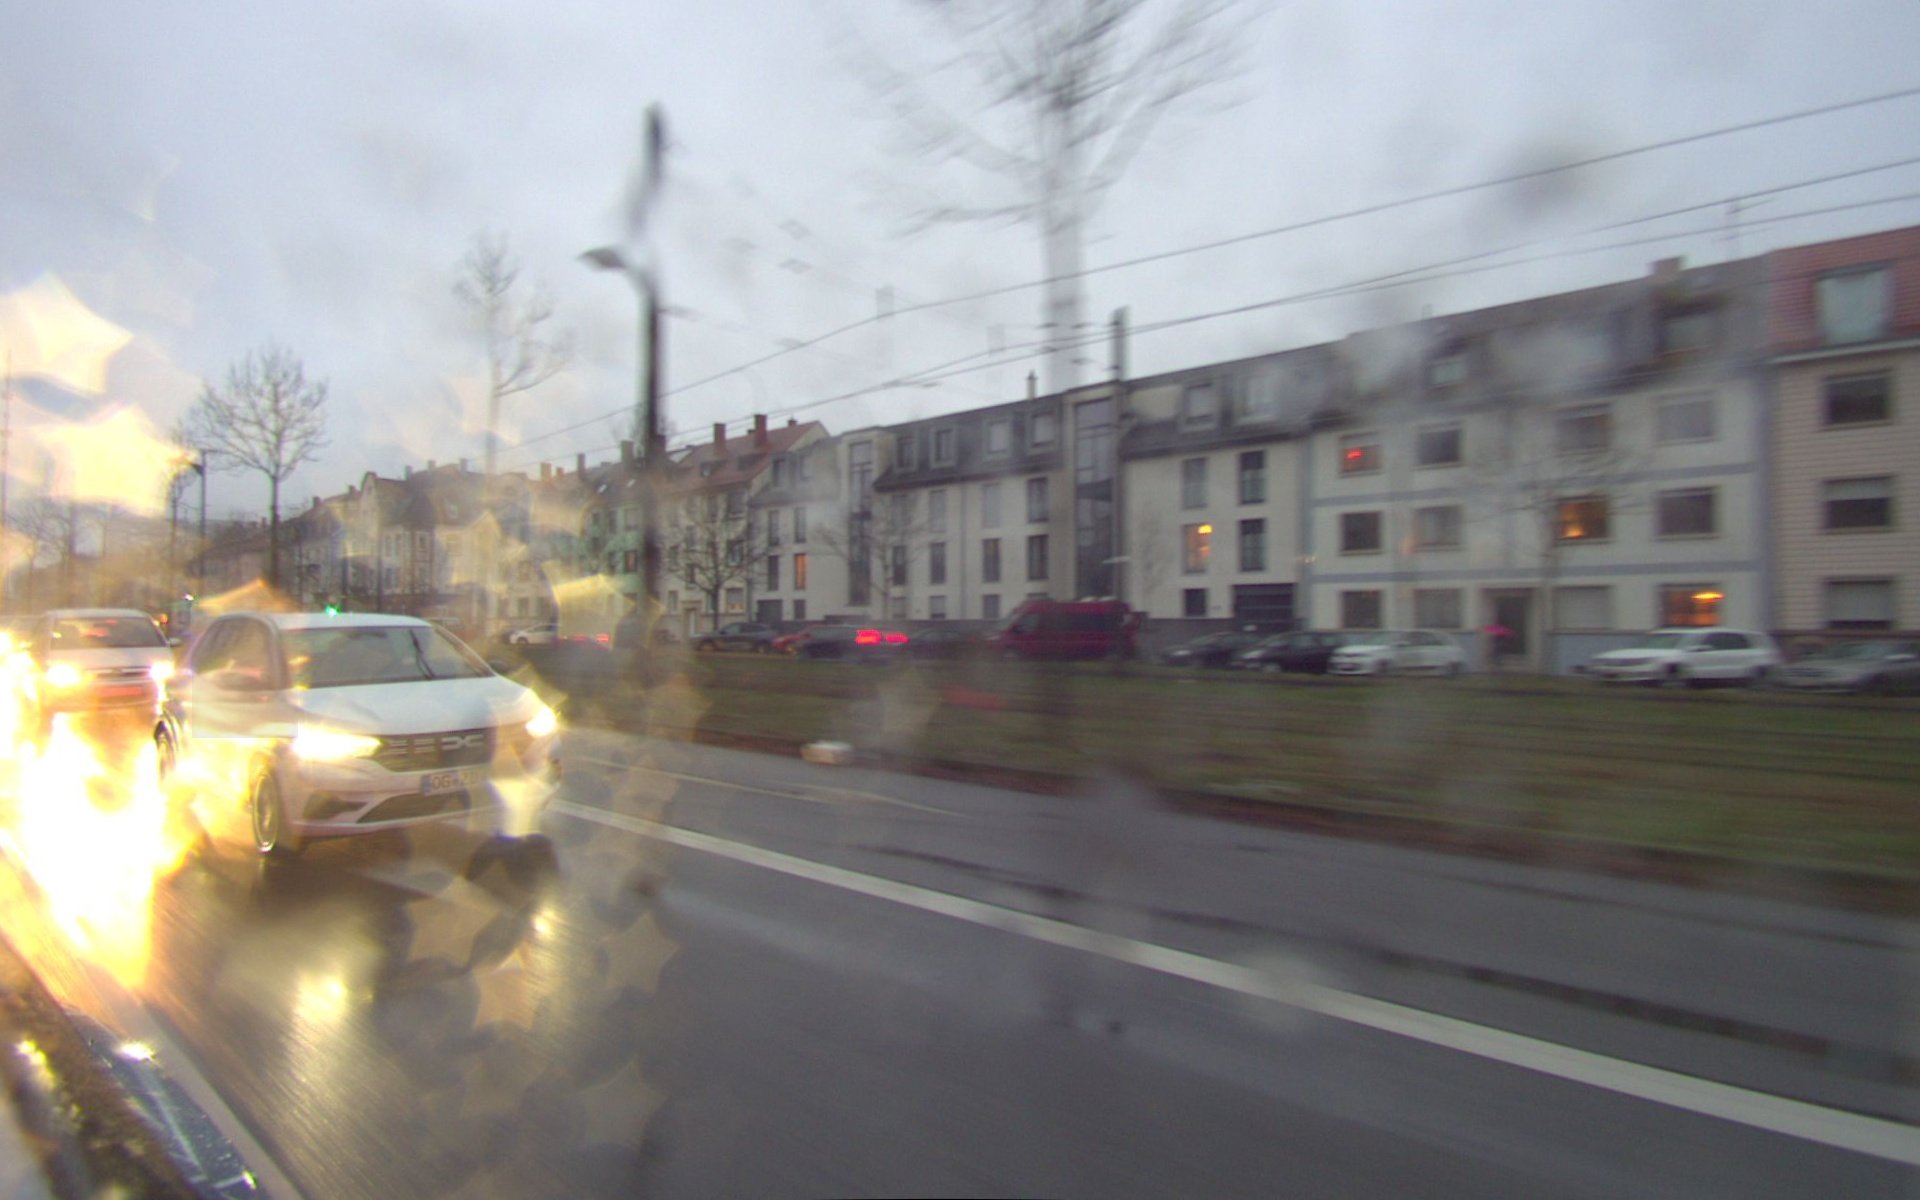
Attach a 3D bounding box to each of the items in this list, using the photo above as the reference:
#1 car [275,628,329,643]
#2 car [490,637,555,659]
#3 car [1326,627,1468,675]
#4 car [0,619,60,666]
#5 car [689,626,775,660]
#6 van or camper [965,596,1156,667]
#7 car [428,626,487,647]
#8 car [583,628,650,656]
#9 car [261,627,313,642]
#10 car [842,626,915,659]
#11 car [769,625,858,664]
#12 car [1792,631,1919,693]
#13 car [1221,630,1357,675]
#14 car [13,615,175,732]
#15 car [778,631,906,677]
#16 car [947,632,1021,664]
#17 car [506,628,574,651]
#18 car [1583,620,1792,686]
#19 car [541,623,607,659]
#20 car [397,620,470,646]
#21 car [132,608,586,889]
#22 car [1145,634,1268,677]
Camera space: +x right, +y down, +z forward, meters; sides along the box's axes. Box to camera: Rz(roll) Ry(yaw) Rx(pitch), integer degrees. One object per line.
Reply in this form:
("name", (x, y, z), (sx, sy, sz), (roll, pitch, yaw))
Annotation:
("car", (-63.655, 3.418, 97.960), (4.039, 1.169, 1.716), (-3, 2, -9))
("car", (-28.319, 3.089, 65.596), (3.755, 1.181, 1.743), (-2, 0, -19))
("car", (12.341, 1.412, 28.616), (3.360, 1.156, 1.696), (-1, 0, -17))
("car", (-32.403, 1.439, 34.790), (3.656, 1.495, 1.879), (-2, -1, 44))
("car", (-11.285, 2.115, 50.214), (4.094, 1.552, 1.674), (-1, 0, -12))
("van or camper", (3.749, 1.132, 37.773), (6.765, 2.378, 2.006), (-1, 0, -15))
("car", (-35.715, 2.600, 71.985), (3.519, 1.319, 1.691), (-2, 0, -18))
("car", (-19.286, 2.347, 56.901), (3.330, 1.432, 1.673), (-1, 0, -10))
("car", (-66.396, 3.394, 99.877), (3.978, 1.239, 1.352), (-3, 2, -12))
("car", (-3.564, 1.850, 43.956), (3.048, 1.312, 1.390), (-1, 0, -7))
("car", (-6.708, 2.003, 46.285), (3.784, 1.600, 1.747), (-1, 0, -17))
("car", (19.930, 1.317, 22.019), (2.993, 1.156, 1.401), (-1, 0, -18))
("car", (10.039, 1.576, 30.961), (3.480, 1.209, 1.888), (-1, 0, -17))
("car", (-13.346, 1.036, 15.525), (1.615, 1.531, 3.910), (-1, -1, -45))
("car", (-4.326, 1.904, 36.722), (4.787, 1.514, 1.861), (-2, 0, 41))
("car", (0.981, 1.969, 41.926), (2.843, 1.213, 1.390), (-1, 0, -7))
("car", (-26.288, 2.437, 63.408), (3.778, 1.255, 1.743), (-2, 0, -17))
("car", (17.493, 1.232, 24.411), (4.056, 1.389, 1.777), (-1, 0, -12))
("car", (-18.993, 1.991, 49.791), (3.507, 1.635, 1.597), (-2, -1, 42))
("car", (-39.740, 2.492, 76.512), (4.580, 1.736, 1.838), (-2, 0, -15))
("car", (-4.552, 0.844, 7.407), (3.998, 1.485, 1.671), (-2, -1, 41))
("car", (8.050, 1.781, 33.123), (3.480, 1.221, 1.753), (-1, 0, -17))
